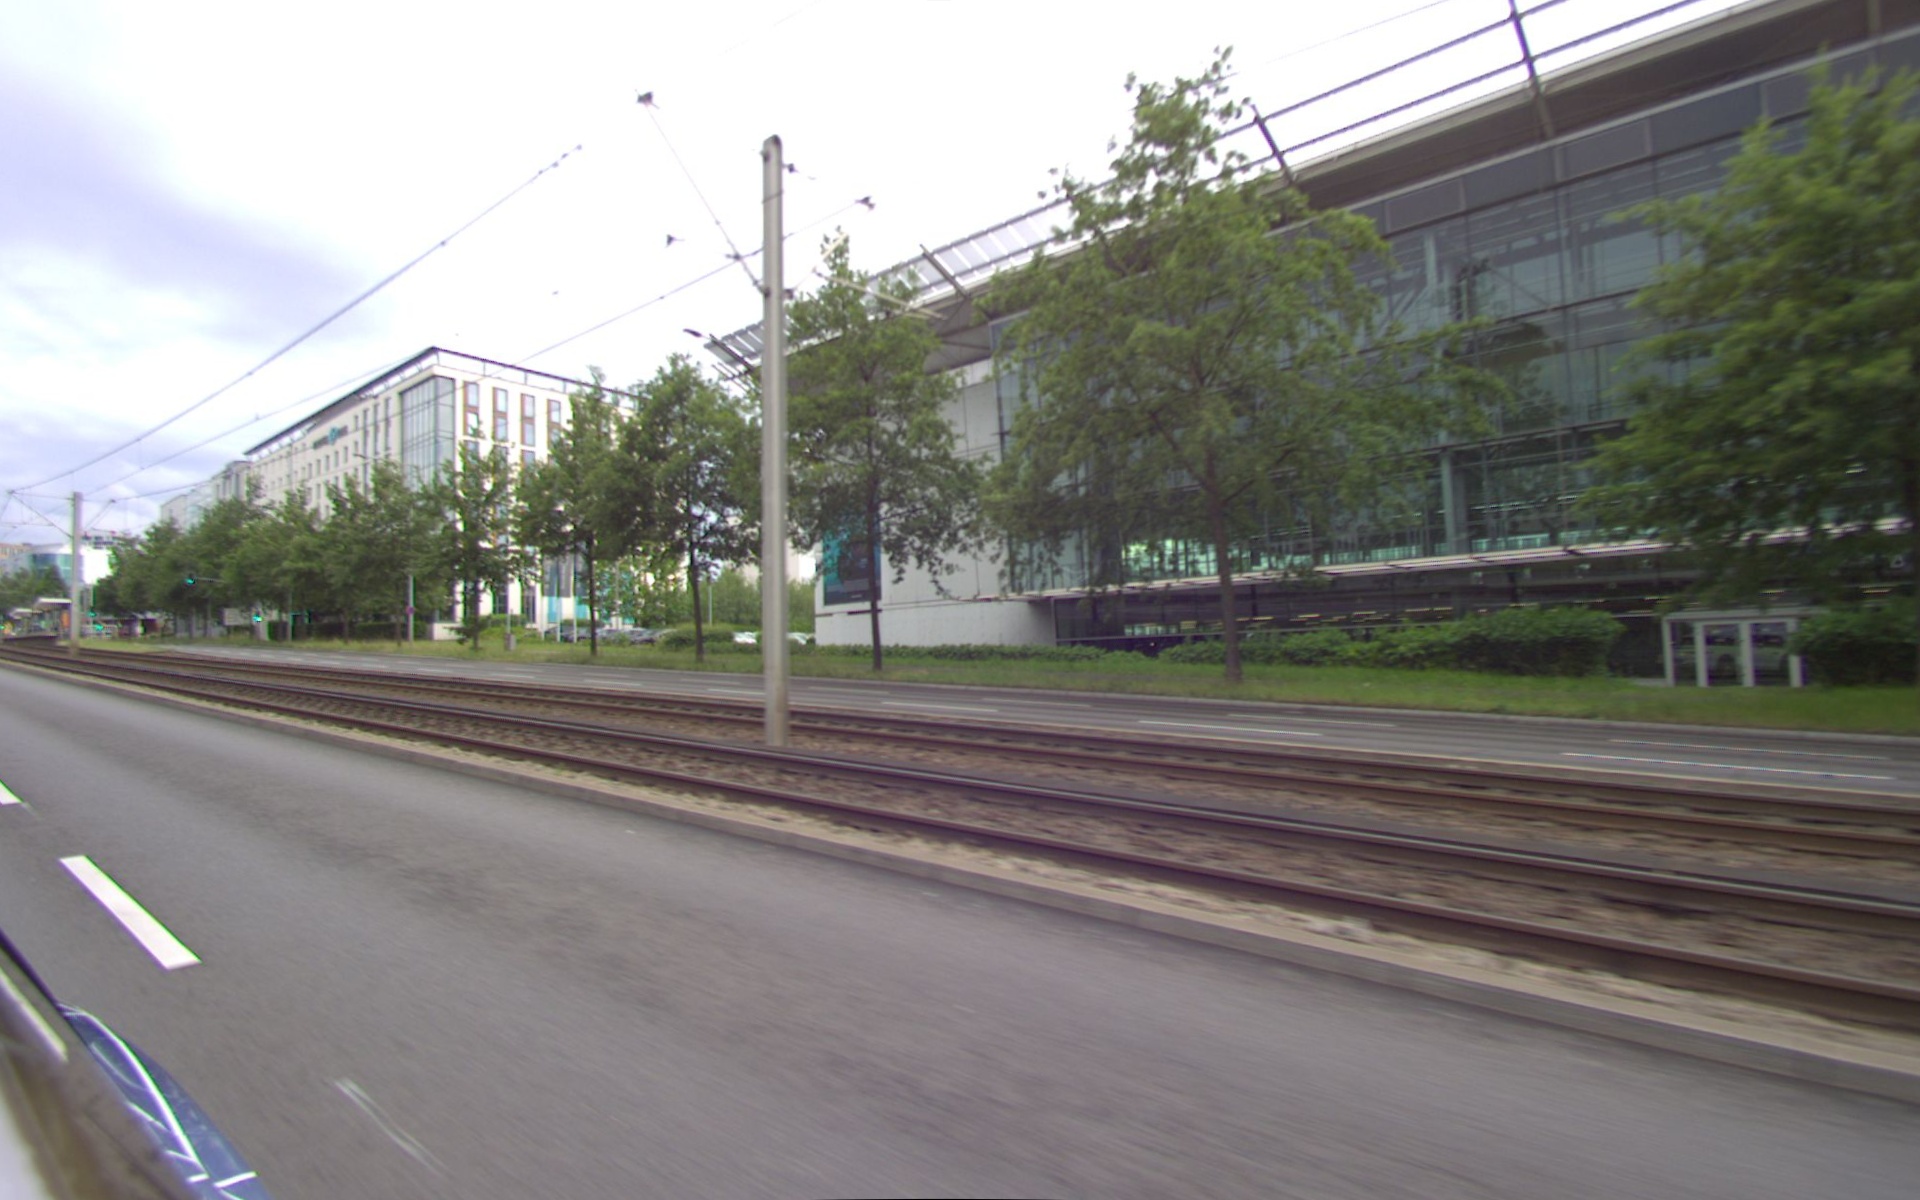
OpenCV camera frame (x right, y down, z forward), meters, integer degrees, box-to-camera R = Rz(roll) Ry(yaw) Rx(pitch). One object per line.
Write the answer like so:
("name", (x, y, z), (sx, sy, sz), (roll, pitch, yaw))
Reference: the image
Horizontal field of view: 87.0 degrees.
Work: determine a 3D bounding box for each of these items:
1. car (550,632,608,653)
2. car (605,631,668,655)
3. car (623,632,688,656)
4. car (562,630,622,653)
("car", (-28.263, 3.149, 75.039), (3.931, 1.401, 1.809), (-1, 0, -22))
("car", (-21.803, 2.889, 68.177), (3.931, 1.401, 1.809), (-1, 0, -22))
("car", (-19.900, 2.860, 66.168), (3.931, 1.401, 1.809), (-1, 0, -22))
("car", (-26.423, 2.959, 72.678), (3.931, 1.401, 1.809), (-1, 0, -22))
